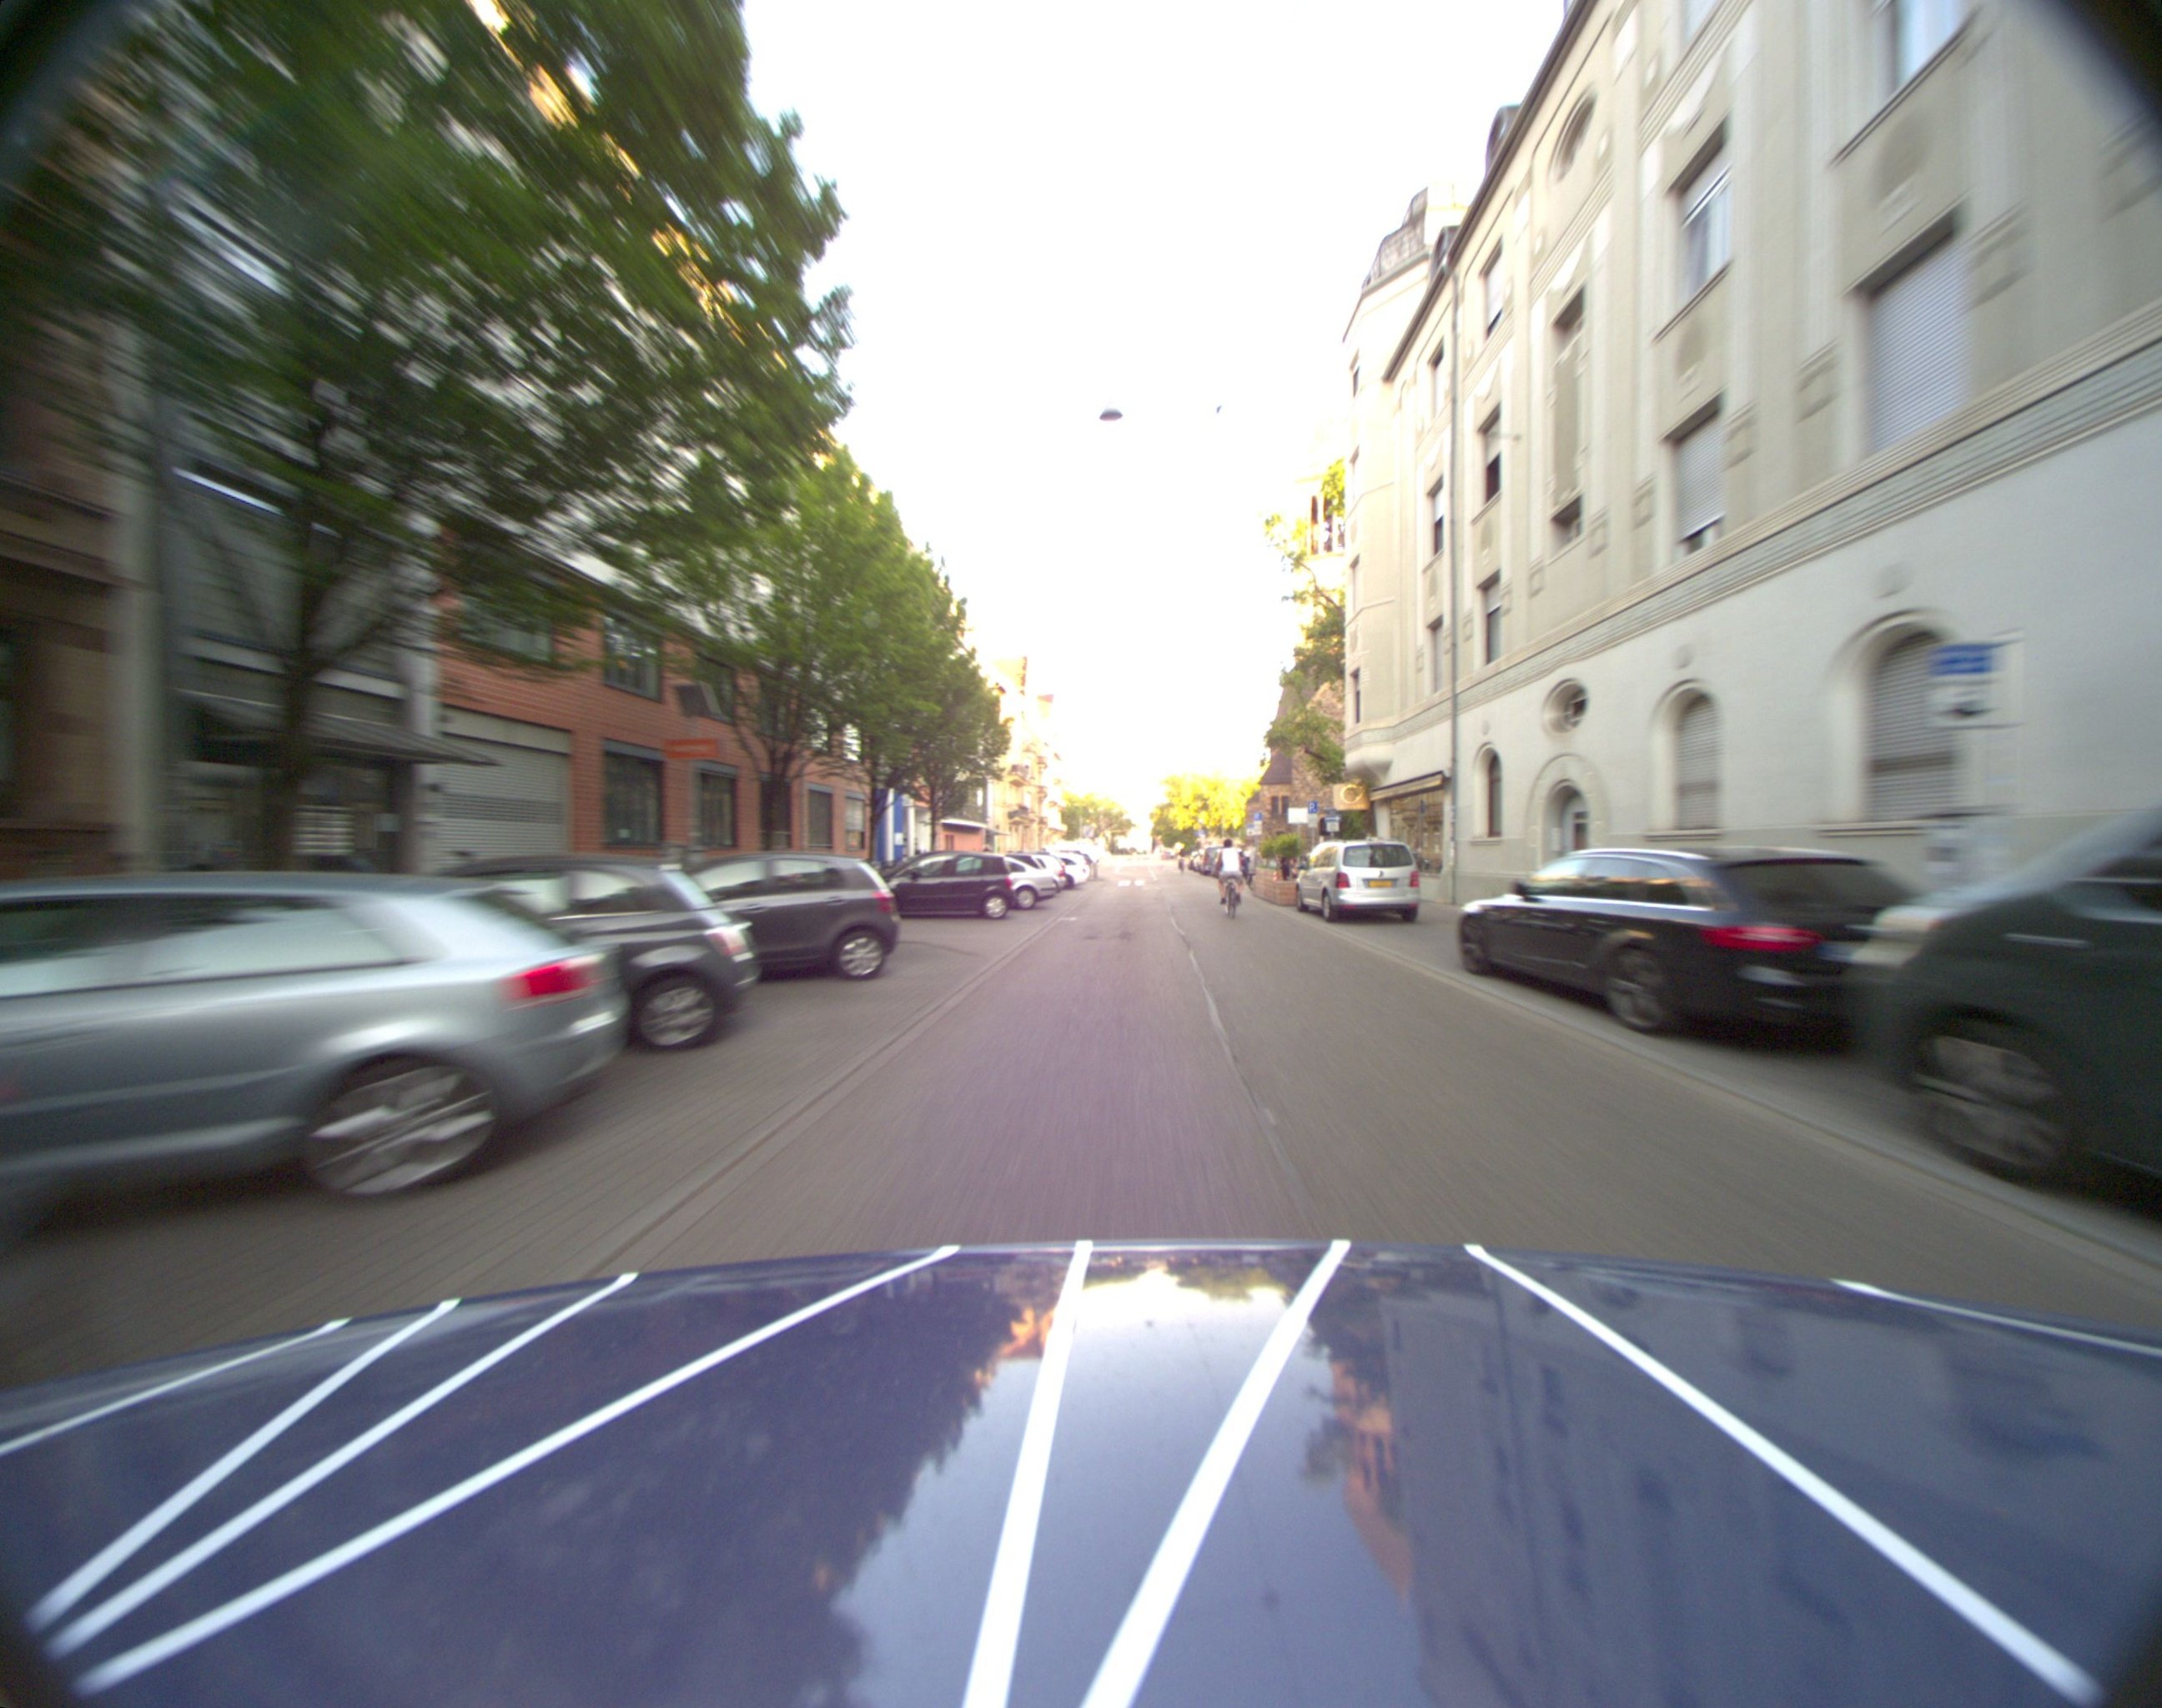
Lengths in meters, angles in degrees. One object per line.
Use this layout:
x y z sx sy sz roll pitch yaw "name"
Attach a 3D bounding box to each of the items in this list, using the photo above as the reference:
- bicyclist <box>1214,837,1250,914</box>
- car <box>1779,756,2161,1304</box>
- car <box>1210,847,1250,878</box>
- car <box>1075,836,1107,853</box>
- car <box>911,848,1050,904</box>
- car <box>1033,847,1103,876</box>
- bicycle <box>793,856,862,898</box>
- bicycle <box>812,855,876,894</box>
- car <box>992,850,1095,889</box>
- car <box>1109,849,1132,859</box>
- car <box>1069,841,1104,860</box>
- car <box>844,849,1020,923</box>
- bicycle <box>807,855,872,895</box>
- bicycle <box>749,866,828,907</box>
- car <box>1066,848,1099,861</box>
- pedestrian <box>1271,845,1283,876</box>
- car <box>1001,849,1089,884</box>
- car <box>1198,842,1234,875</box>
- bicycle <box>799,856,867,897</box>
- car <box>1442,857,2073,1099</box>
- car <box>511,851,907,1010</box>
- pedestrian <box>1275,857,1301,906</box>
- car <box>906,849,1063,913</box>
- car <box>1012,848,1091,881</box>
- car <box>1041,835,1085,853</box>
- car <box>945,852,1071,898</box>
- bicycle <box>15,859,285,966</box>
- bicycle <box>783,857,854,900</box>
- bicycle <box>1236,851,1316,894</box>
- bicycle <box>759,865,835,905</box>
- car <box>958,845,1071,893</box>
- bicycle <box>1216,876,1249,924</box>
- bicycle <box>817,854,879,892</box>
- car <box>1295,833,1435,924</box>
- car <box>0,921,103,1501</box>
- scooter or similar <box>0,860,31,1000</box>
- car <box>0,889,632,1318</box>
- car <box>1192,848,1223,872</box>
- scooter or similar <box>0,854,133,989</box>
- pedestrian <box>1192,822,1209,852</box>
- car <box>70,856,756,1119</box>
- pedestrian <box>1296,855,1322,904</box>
3.418 0.460 17.287 0.624 1.682 1.004 -2 1 4 "bicyclist"
4.584 0.596 1.613 1.931 1.872 4.906 -1 0 4 "car"
8.159 0.453 41.815 1.785 1.538 4.001 -2 1 6 "car"
1.364 -1.293 107.513 4.200 2.246 1.673 1 2 -31 "car"
-3.068 0.672 23.181 3.840 1.557 1.674 2 2 -25 "car"
-0.776 0.446 44.279 3.836 1.510 1.676 2 1 -11 "car"
-7.321 0.659 21.981 1.769 1.094 0.546 3 1 -2 "bicycle"
-7.423 0.624 23.814 1.769 1.094 0.546 3 1 -2 "bicycle"
-1.537 0.648 31.406 3.841 1.510 1.673 1 2 -28 "car"
7.333 0.041 140.435 4.075 1.688 1.679 2 1 12 "car"
0.727 -0.430 99.107 4.201 2.280 1.673 1 2 -35 "car"
-3.513 0.750 17.824 3.838 1.557 1.675 2 1 -17 "car"
-7.371 0.634 23.221 1.769 1.094 0.546 3 1 -2 "bicycle"
-7.484 0.820 19.493 1.769 0.921 0.546 3 1 -2 "bicycle"
0.227 0.018 96.017 3.841 1.510 1.673 1 2 -30 "car"
10.206 0.347 39.557 0.508 1.597 0.562 -2 1 4 "pedestrian"
-1.746 0.600 36.496 3.840 1.510 1.674 2 2 -24 "car"
8.257 0.208 46.800 1.785 1.860 4.459 -2 1 6 "car"
-7.350 0.651 22.575 1.769 1.094 0.546 3 1 -2 "bicycle"
5.193 0.774 6.900 1.931 1.422 4.482 -1 0 4 "car"
-4.162 0.780 8.920 3.806 1.508 1.646 1 0 -28 "car"
5.674 0.744 20.876 0.571 1.315 0.496 -2 1 4 "pedestrian"
-2.591 0.720 20.525 3.840 1.557 1.674 2 2 -25 "car"
-1.547 0.548 39.317 3.836 1.510 1.676 2 1 -11 "car"
-1.724 -0.959 72.969 3.840 1.510 1.674 2 2 -24 "car"
-2.459 0.713 25.615 3.840 1.422 1.674 2 2 -25 "car"
-10.679 0.672 8.785 2.024 1.158 0.579 2 1 -13 "bicycle"
-7.372 0.677 21.379 1.769 1.094 0.546 3 1 -2 "bicycle"
6.759 0.648 26.378 2.618 1.390 0.602 -2 1 17 "bicycle"
-7.495 0.811 20.085 1.769 0.921 0.546 3 1 -2 "bicycle"
-2.493 0.572 28.386 3.839 1.639 1.674 2 2 -23 "car"
3.436 1.012 17.371 0.477 0.938 1.896 -2 1 4 "bicycle"
-7.465 0.616 24.400 1.769 1.094 0.546 3 1 -2 "bicycle"
5.781 0.444 15.975 1.729 1.638 3.917 -2 0 5 "car"
-4.345 0.916 0.483 4.178 1.480 1.826 1 0 -31 "car"
-10.251 0.708 6.707 0.329 1.274 1.068 -1 2 42 "scooter or similar"
-4.244 0.919 3.472 3.637 1.412 1.827 1 0 -27 "car"
8.944 0.394 54.106 1.785 1.538 4.000 -2 1 4 "car"
-10.361 0.653 7.572 0.329 1.274 1.068 -1 2 34 "scooter or similar"
11.315 -1.589 71.997 1.445 2.725 1.012 -2 1 3 "pedestrian"
-4.514 0.825 5.880 3.636 1.508 1.621 1 0 -23 "car"
6.393 0.713 21.341 0.571 1.315 0.496 -2 1 4 "pedestrian"
